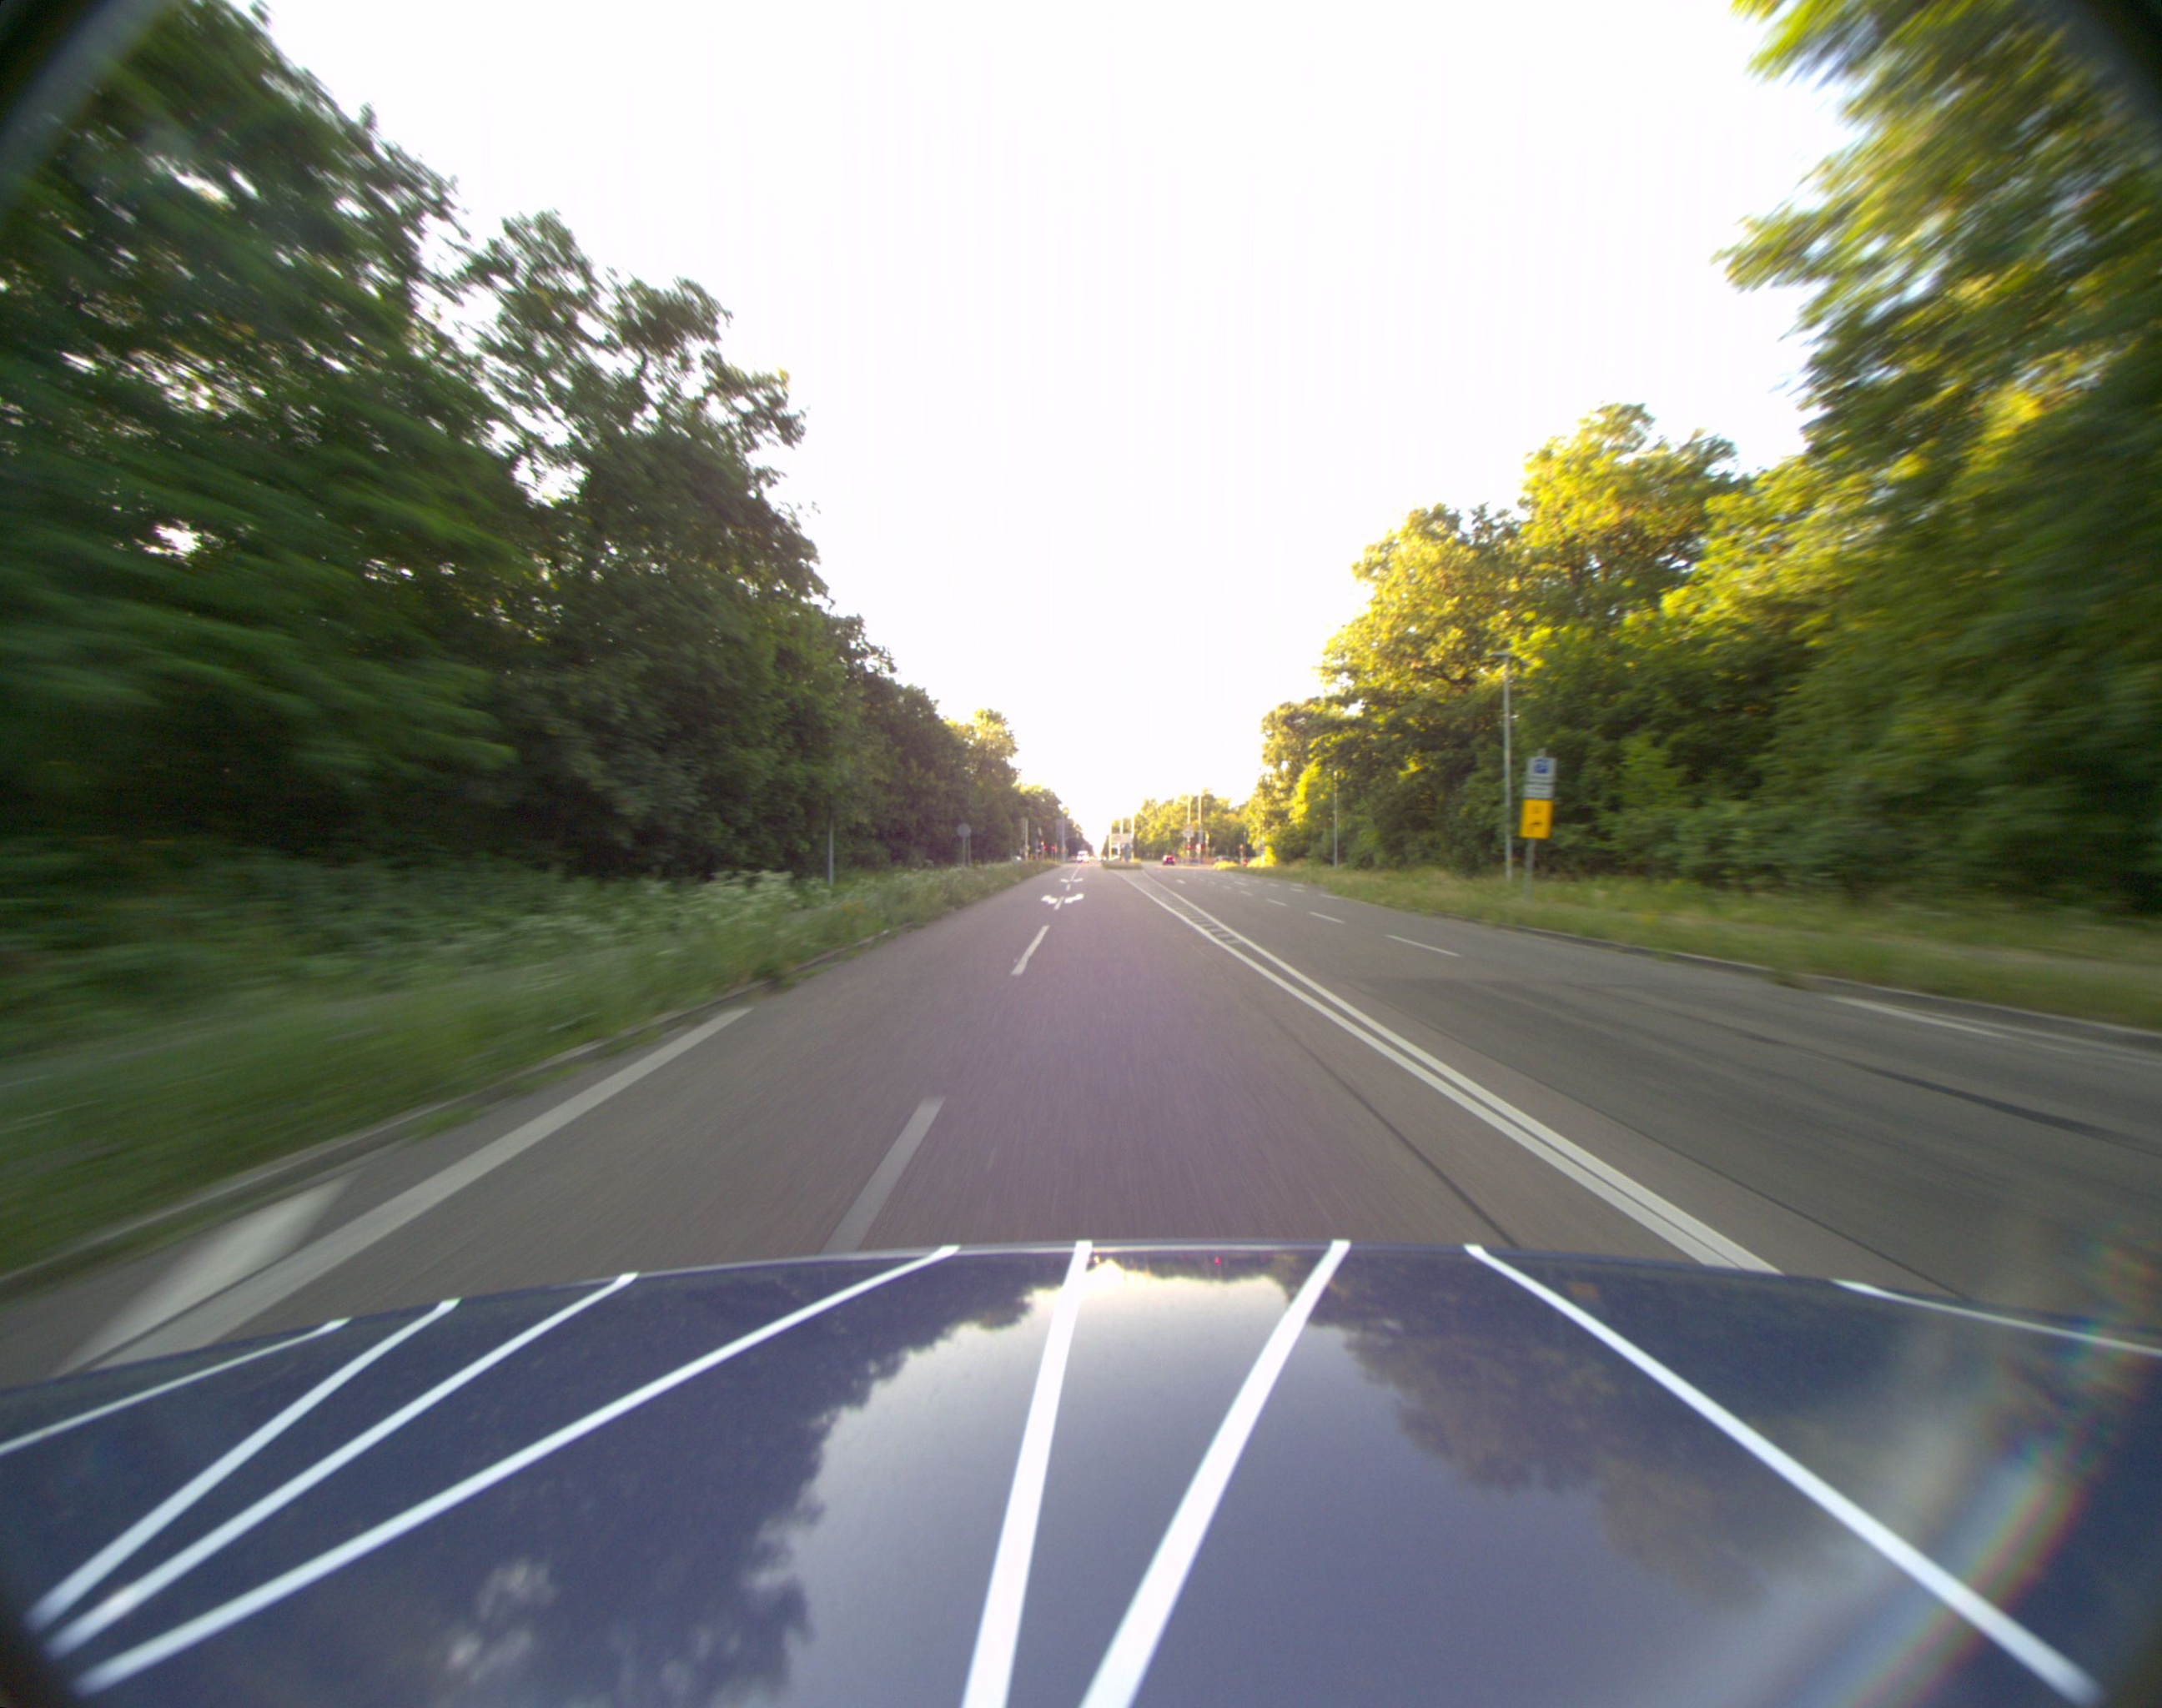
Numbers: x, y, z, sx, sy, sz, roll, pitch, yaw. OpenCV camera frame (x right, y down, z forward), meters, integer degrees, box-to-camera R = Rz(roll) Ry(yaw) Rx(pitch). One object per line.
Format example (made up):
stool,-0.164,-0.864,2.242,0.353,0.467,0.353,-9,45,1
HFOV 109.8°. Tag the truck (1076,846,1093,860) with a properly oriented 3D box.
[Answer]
truck,0.755,-0.249,157.895,2.602,2.543,6.025,-3,2,9

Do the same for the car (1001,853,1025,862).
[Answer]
car,-12.576,0.647,141.140,4.235,1.447,1.719,0,0,-15

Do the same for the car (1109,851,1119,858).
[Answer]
car,6.913,0.156,161.223,2.001,1.511,4.000,0,1,1

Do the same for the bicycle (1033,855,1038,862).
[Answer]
bicycle,-6.700,0.628,112.206,0.612,0.990,1.691,0,1,2

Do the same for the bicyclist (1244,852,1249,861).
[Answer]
bicyclist,24.962,0.340,114.839,0.586,1.421,0.824,1,1,25

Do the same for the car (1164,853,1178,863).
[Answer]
car,14.281,0.642,120.514,1.822,1.525,4.459,2,1,11

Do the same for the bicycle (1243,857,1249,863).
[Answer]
bicycle,24.906,0.910,114.673,0.586,0.800,1.962,1,0,25

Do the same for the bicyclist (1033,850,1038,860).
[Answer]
bicyclist,-6.711,0.121,112.270,0.604,1.447,0.780,0,1,2
